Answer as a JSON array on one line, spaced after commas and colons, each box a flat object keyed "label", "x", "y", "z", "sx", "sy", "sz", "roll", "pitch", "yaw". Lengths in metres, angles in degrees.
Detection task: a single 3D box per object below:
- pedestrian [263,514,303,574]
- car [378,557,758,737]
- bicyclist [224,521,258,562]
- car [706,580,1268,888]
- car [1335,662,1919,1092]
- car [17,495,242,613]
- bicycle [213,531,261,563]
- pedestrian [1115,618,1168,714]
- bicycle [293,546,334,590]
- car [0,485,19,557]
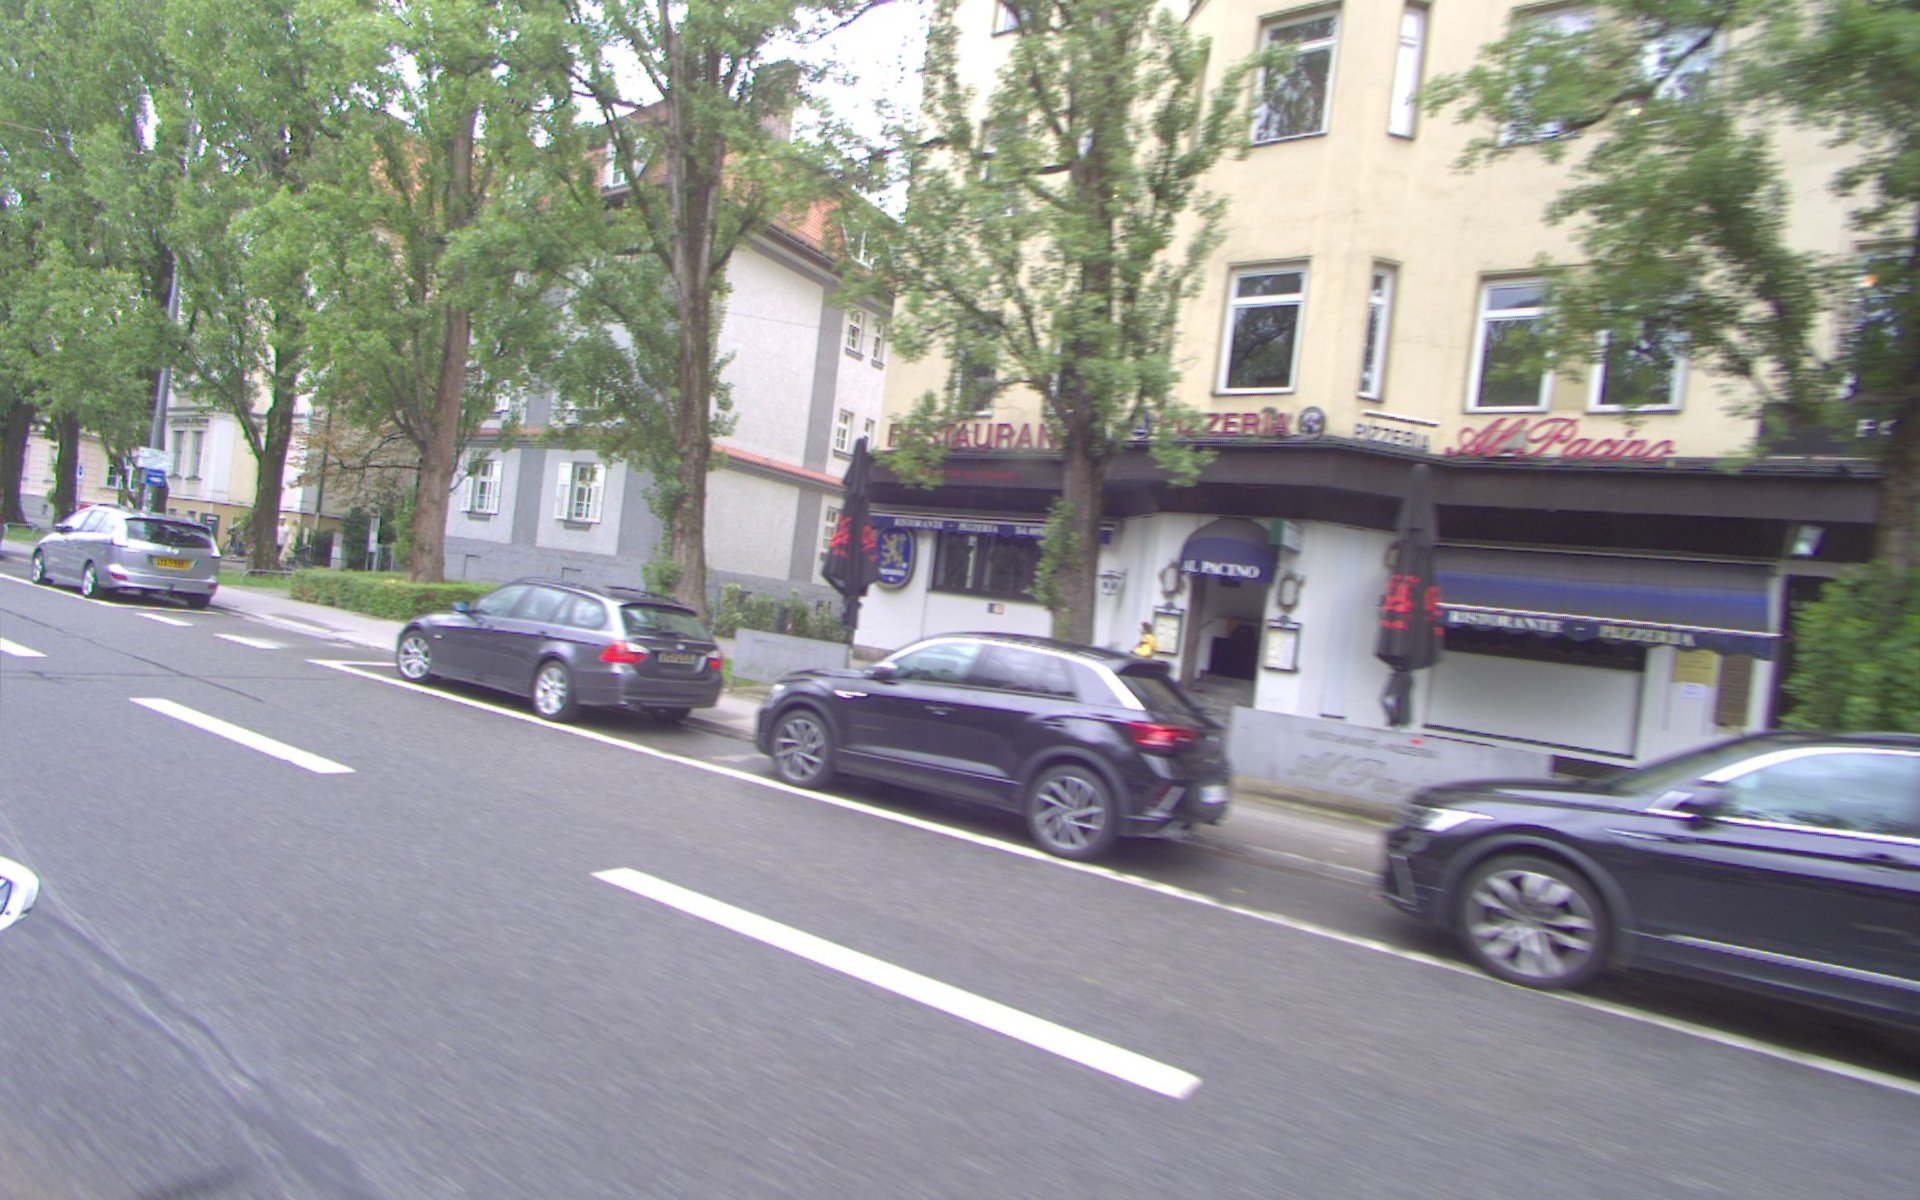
[{"label": "pedestrian", "x": -21.453, "y": -1.766, "z": 31.870, "sx": 0.811, "sy": 1.760, "sz": 0.592, "roll": 9, "pitch": 1, "yaw": 34}, {"label": "car", "x": -4.603, "y": 0.476, "z": 11.619, "sx": 4.310, "sy": 1.415, "sz": 1.801, "roll": 7, "pitch": 0, "yaw": 32}, {"label": "bicyclist", "x": -25.540, "y": -2.080, "z": 35.745, "sx": 0.694, "sy": 1.331, "sz": 0.661, "roll": 7, "pitch": 1, "yaw": 32}, {"label": "car", "x": 0.116, "y": 0.912, "z": 8.407, "sx": 4.234, "sy": 1.632, "sz": 1.801, "roll": 7, "pitch": 0, "yaw": 32}, {"label": "car", "x": 4.603, "y": 1.456, "z": 5.486, "sx": 4.397, "sy": 1.632, "sz": 1.723, "roll": 7, "pitch": 0, "yaw": 32}, {"label": "car", "x": -15.308, "y": -0.874, "z": 18.484, "sx": 4.472, "sy": 1.632, "sz": 1.801, "roll": 7, "pitch": 0, "yaw": 32}, {"label": "bicycle", "x": -25.744, "y": -1.902, "z": 35.826, "sx": 1.871, "sy": 0.934, "sz": 0.653, "roll": 7, "pitch": 0, "yaw": 32}, {"label": "pedestrian", "x": 3.133, "y": 1.143, "z": 17.336, "sx": 0.487, "sy": 1.581, "sz": 0.573, "roll": 9, "pitch": 1, "yaw": 33}, {"label": "bicycle", "x": -17.144, "y": -0.845, "z": 26.659, "sx": 1.208, "sy": 1.000, "sz": 0.355, "roll": 9, "pitch": 1, "yaw": 34}, {"label": "car", "x": -26.191, "y": -2.247, "z": 25.808, "sx": 4.623, "sy": 1.764, "sz": 1.801, "roll": 7, "pitch": 0, "yaw": 32}]
